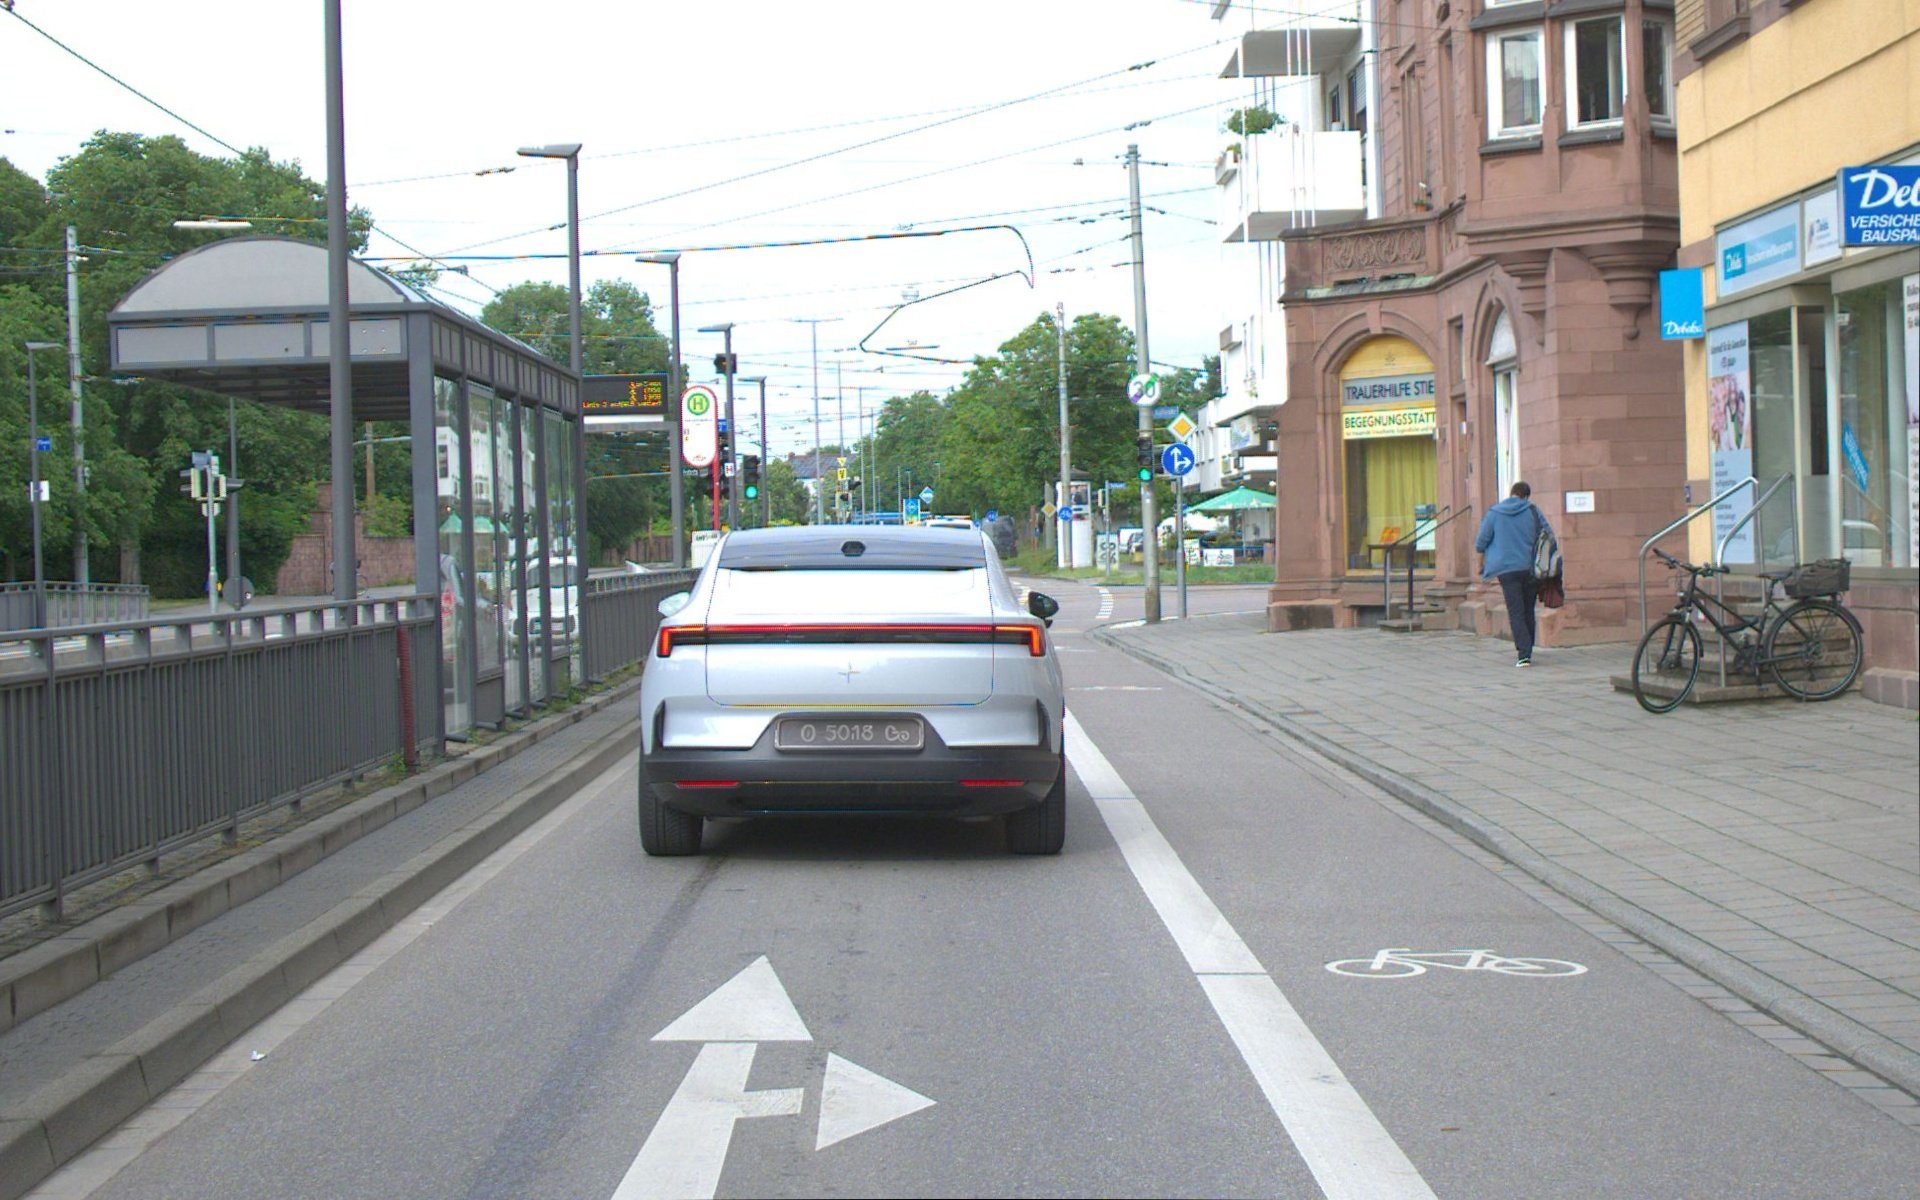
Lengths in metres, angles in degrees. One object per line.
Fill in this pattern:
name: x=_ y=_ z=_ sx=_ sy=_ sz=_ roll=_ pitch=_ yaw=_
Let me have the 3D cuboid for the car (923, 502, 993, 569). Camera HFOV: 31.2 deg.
car: x=-0.106 y=-2.329 z=125.747 sx=2.225 sy=2.394 sz=5.124 roll=0 pitch=0 yaw=-4

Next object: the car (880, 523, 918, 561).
car: x=-3.284 y=-3.132 z=185.618 sx=1.993 sy=2.007 sz=4.000 roll=-1 pitch=1 yaw=-1

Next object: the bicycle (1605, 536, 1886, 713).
bicycle: x=5.568 y=0.167 z=24.428 sx=1.777 sy=1.126 sz=0.642 roll=-4 pitch=1 yaw=-1

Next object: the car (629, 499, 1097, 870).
car: x=-0.574 y=0.348 z=16.691 sx=1.999 sy=1.575 sz=4.001 roll=0 pitch=0 yaw=-5

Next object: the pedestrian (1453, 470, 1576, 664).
pedestrian: x=5.501 y=-0.338 z=34.144 sx=0.961 sy=1.843 sz=0.975 roll=-3 pitch=1 yaw=0

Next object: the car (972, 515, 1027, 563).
car: x=2.097 y=-3.230 z=183.427 sx=2.807 sy=2.496 sz=5.722 roll=0 pitch=0 yaw=0

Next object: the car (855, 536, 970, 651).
car: x=-0.702 y=-0.115 z=52.433 sx=1.681 sy=1.682 sz=3.824 roll=0 pitch=0 yaw=0

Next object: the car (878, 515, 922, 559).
car: x=-2.778 y=-2.941 z=160.286 sx=1.993 sy=2.007 sz=4.000 roll=-1 pitch=1 yaw=-1
